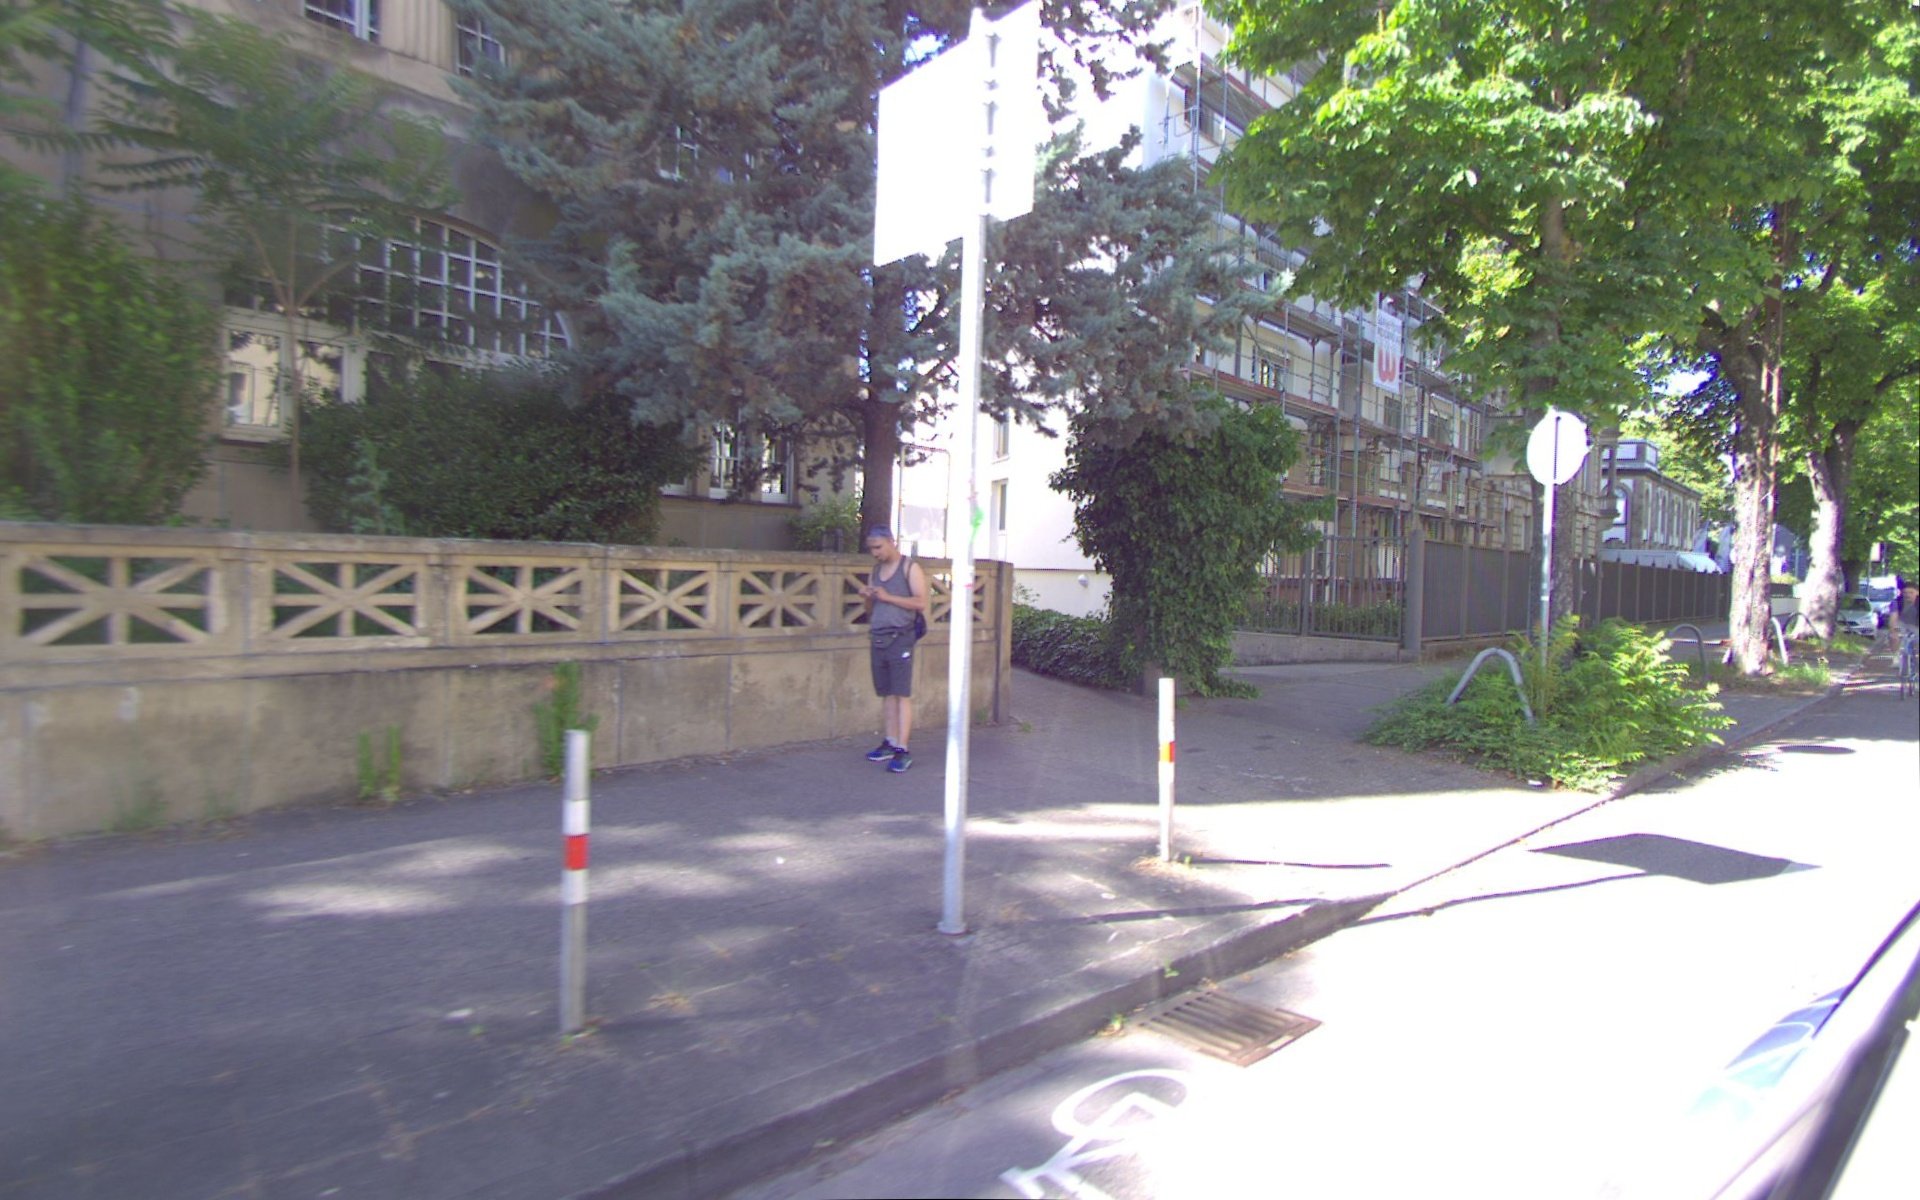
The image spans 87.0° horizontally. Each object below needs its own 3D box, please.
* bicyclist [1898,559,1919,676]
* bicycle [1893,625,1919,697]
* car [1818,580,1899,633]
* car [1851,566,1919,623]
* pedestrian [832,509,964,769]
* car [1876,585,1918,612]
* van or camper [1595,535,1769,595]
[{"bbox_3d":[14.181,0.246,14.848,0.863,1.690,0.532,-1,2,-43],"label":"bicyclist"},{"bbox_3d":[14.147,0.875,14.831,2.022,0.933,0.534,-1,2,-43],"label":"bicycle"},{"bbox_3d":[30.298,0.162,34.094,1.873,1.561,4.299,5,5,43],"label":"car"},{"bbox_3d":[42.939,-0.327,46.962,2.127,2.371,5.716,5,5,43],"label":"car"},{"bbox_3d":[-0.432,0.234,7.026,0.636,1.691,0.593,-1,4,-43],"label":"pedestrian"},{"bbox_3d":[58.720,-0.134,63.424,1.861,1.569,4.039,3,3,43],"label":"car"},{"bbox_3d":[34.277,-1.684,48.399,2.078,2.659,6.753,0,2,-20],"label":"van or camper"}]
